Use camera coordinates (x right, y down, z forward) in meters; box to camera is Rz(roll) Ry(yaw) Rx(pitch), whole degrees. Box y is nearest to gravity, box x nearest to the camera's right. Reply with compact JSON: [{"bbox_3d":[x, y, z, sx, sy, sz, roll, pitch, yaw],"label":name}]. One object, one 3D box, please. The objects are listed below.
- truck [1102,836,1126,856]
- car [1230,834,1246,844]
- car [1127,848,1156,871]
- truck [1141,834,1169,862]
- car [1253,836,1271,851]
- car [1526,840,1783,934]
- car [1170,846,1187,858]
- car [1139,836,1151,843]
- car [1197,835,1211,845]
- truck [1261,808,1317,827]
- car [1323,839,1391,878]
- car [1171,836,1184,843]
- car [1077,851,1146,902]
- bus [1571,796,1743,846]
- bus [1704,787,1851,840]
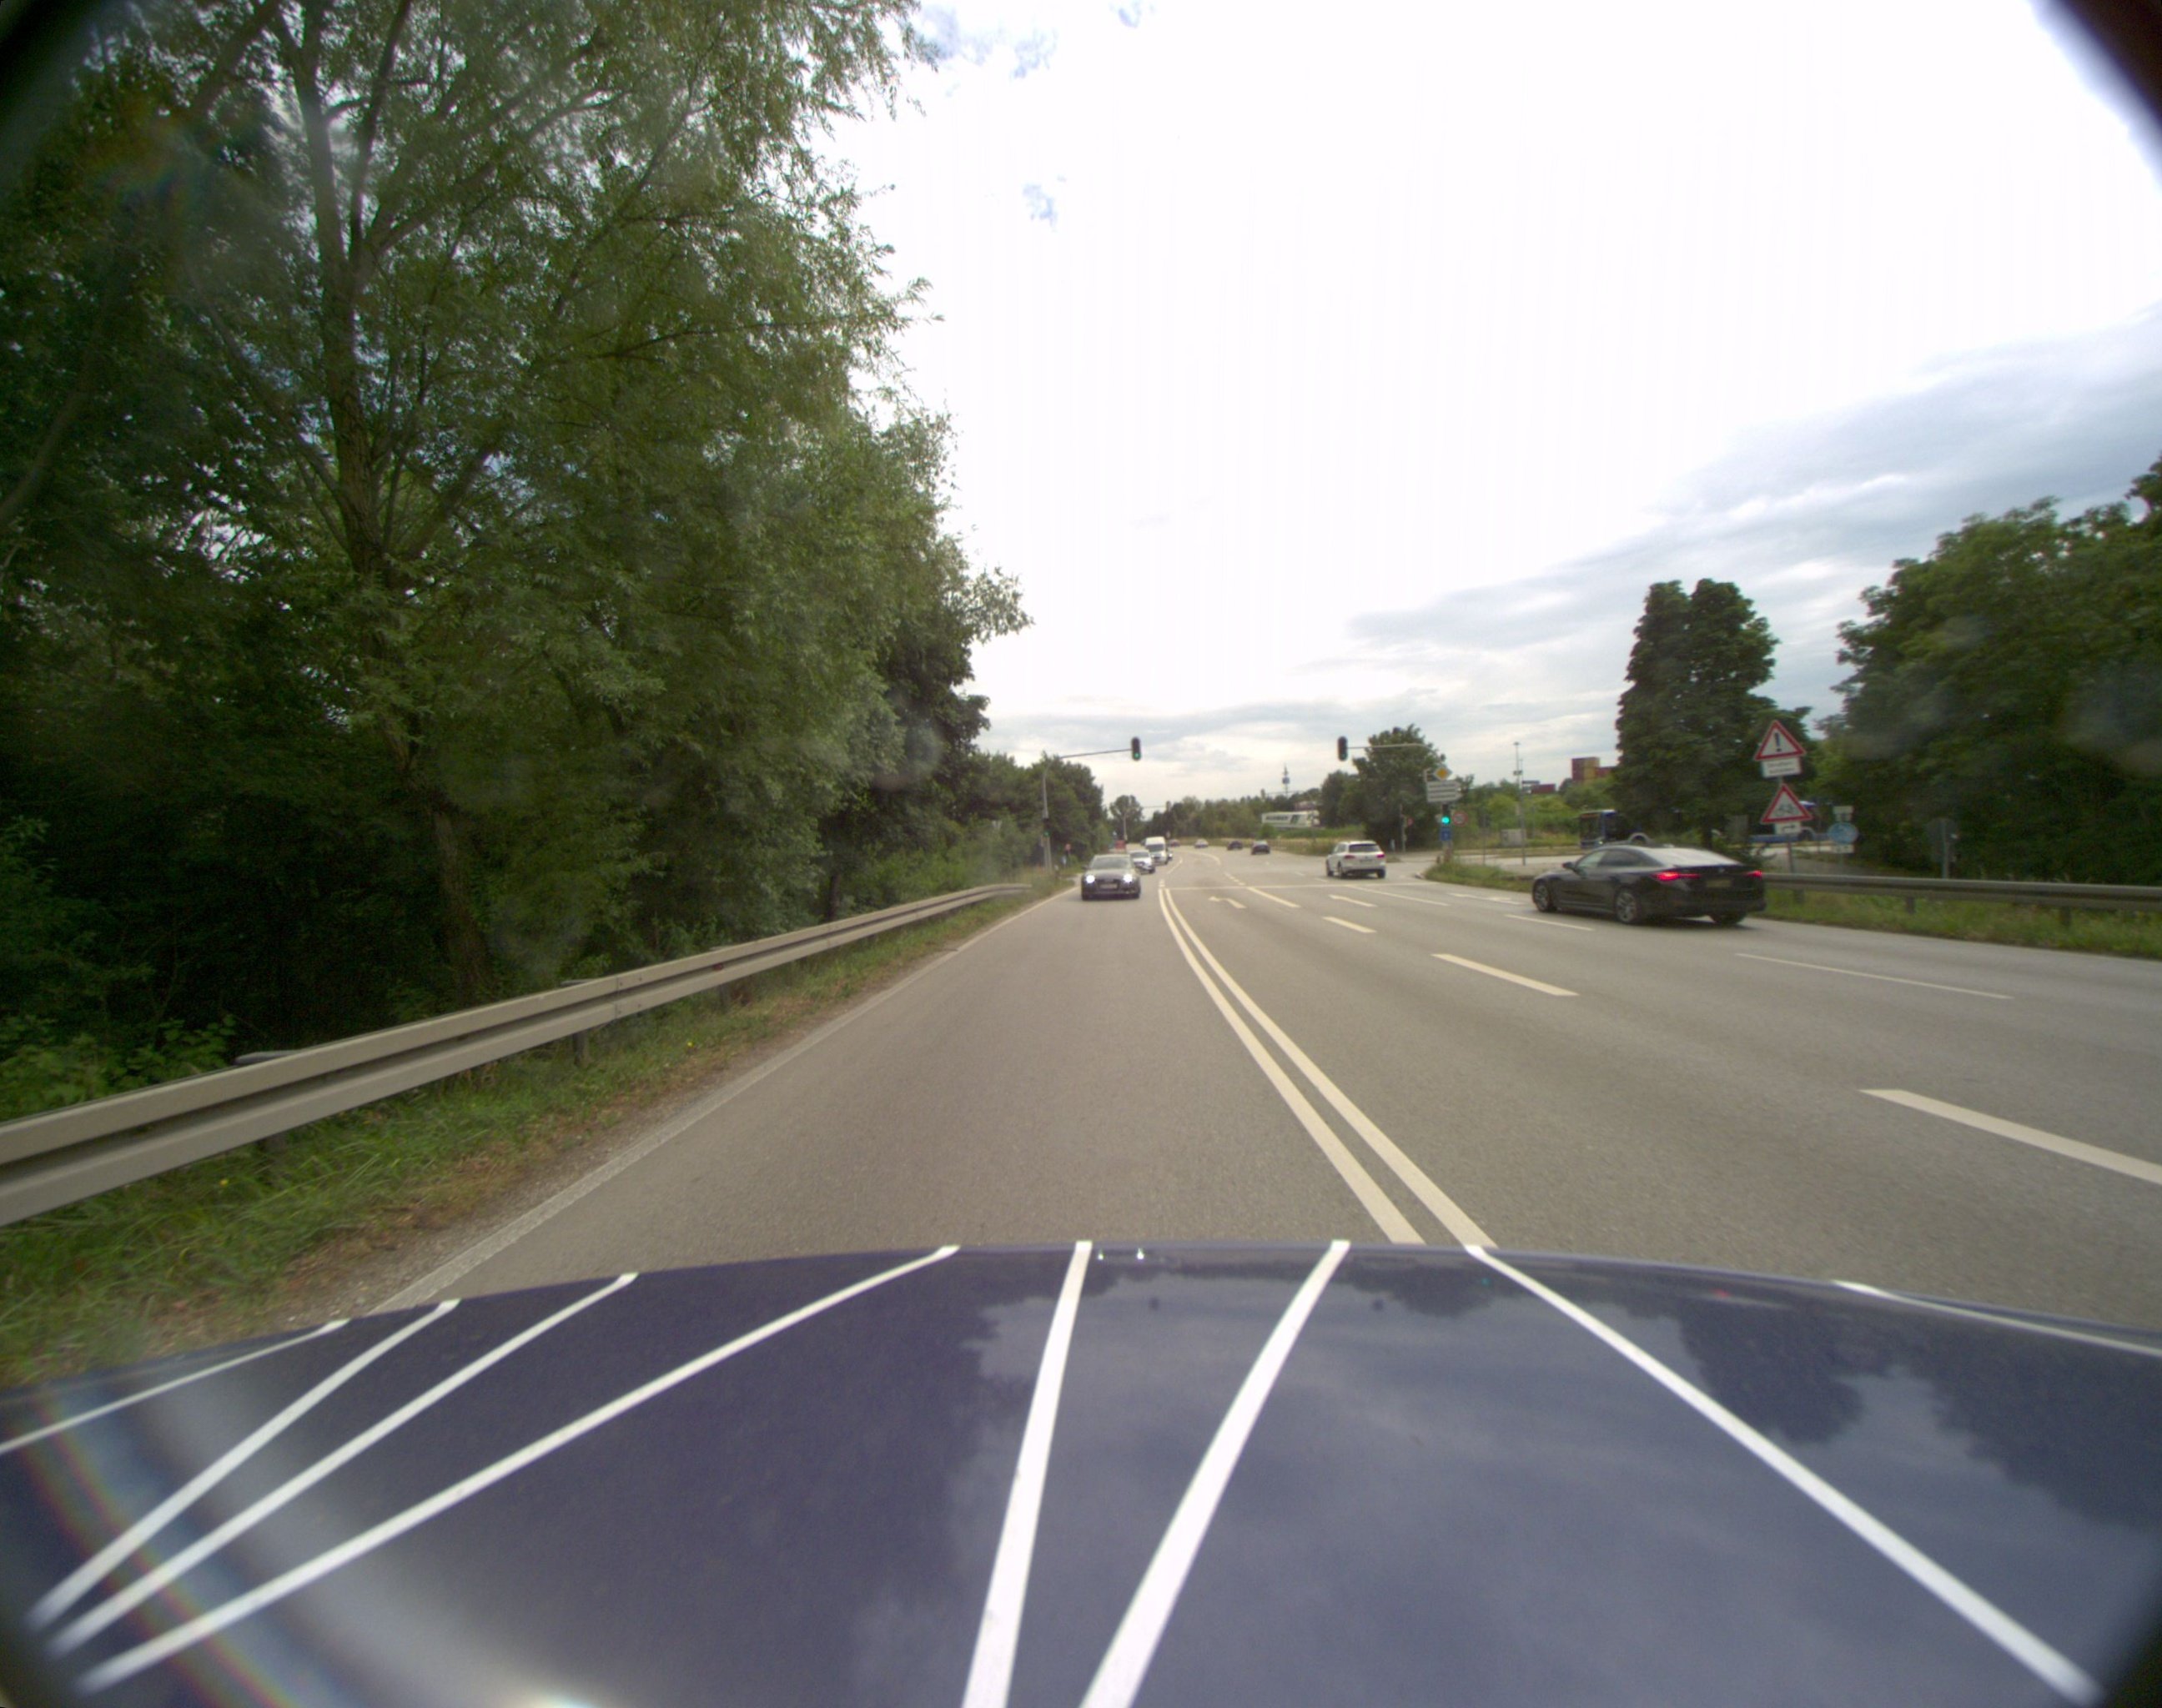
[{"bbox_3d":[7.957,-1.892,185.236,3.030,4.323,9.562,-3,-1,-15],"label":"truck"},{"bbox_3d":[22.892,-2.211,110.731,1.743,1.377,4.000,-4,1,6],"label":"car"},{"bbox_3d":[4.087,0.348,51.681,1.826,1.489,4.225,-1,0,4],"label":"car"},{"bbox_3d":[7.317,-0.631,74.234,2.377,2.579,6.001,-2,1,8],"label":"truck"},{"bbox_3d":[19.553,-1.127,82.232,1.743,1.477,4.203,-2,1,11],"label":"car"},{"bbox_3d":[10.657,0.547,14.632,1.721,1.489,4.549,-2,0,4],"label":"car"},{"bbox_3d":[11.204,-0.235,86.908,1.743,1.317,4.003,0,0,9],"label":"car"},{"bbox_3d":[15.588,-3.499,183.943,1.746,1.378,3.995,-5,2,-12],"label":"car"},{"bbox_3d":[22.323,-2.529,137.634,1.744,1.477,3.999,-5,1,-1],"label":"car"},{"bbox_3d":[48.625,-8.575,178.455,3.368,4.303,14.170,-4,5,-31],"label":"truck"},{"bbox_3d":[12.672,0.196,35.184,1.861,1.634,4.739,-2,0,7],"label":"car"},{"bbox_3d":[20.161,-3.090,159.179,1.745,1.378,3.997,-5,2,-6],"label":"car"},{"bbox_3d":[1.150,0.694,26.042,1.964,1.447,4.798,-2,1,6],"label":"car"},{"bbox_3d":[41.092,-2.317,54.383,10.067,3.029,3.121,-3,1,-2],"label":"bus"},{"bbox_3d":[50.038,-2.872,54.710,7.820,3.328,3.121,-3,1,-2],"label":"bus"}]
